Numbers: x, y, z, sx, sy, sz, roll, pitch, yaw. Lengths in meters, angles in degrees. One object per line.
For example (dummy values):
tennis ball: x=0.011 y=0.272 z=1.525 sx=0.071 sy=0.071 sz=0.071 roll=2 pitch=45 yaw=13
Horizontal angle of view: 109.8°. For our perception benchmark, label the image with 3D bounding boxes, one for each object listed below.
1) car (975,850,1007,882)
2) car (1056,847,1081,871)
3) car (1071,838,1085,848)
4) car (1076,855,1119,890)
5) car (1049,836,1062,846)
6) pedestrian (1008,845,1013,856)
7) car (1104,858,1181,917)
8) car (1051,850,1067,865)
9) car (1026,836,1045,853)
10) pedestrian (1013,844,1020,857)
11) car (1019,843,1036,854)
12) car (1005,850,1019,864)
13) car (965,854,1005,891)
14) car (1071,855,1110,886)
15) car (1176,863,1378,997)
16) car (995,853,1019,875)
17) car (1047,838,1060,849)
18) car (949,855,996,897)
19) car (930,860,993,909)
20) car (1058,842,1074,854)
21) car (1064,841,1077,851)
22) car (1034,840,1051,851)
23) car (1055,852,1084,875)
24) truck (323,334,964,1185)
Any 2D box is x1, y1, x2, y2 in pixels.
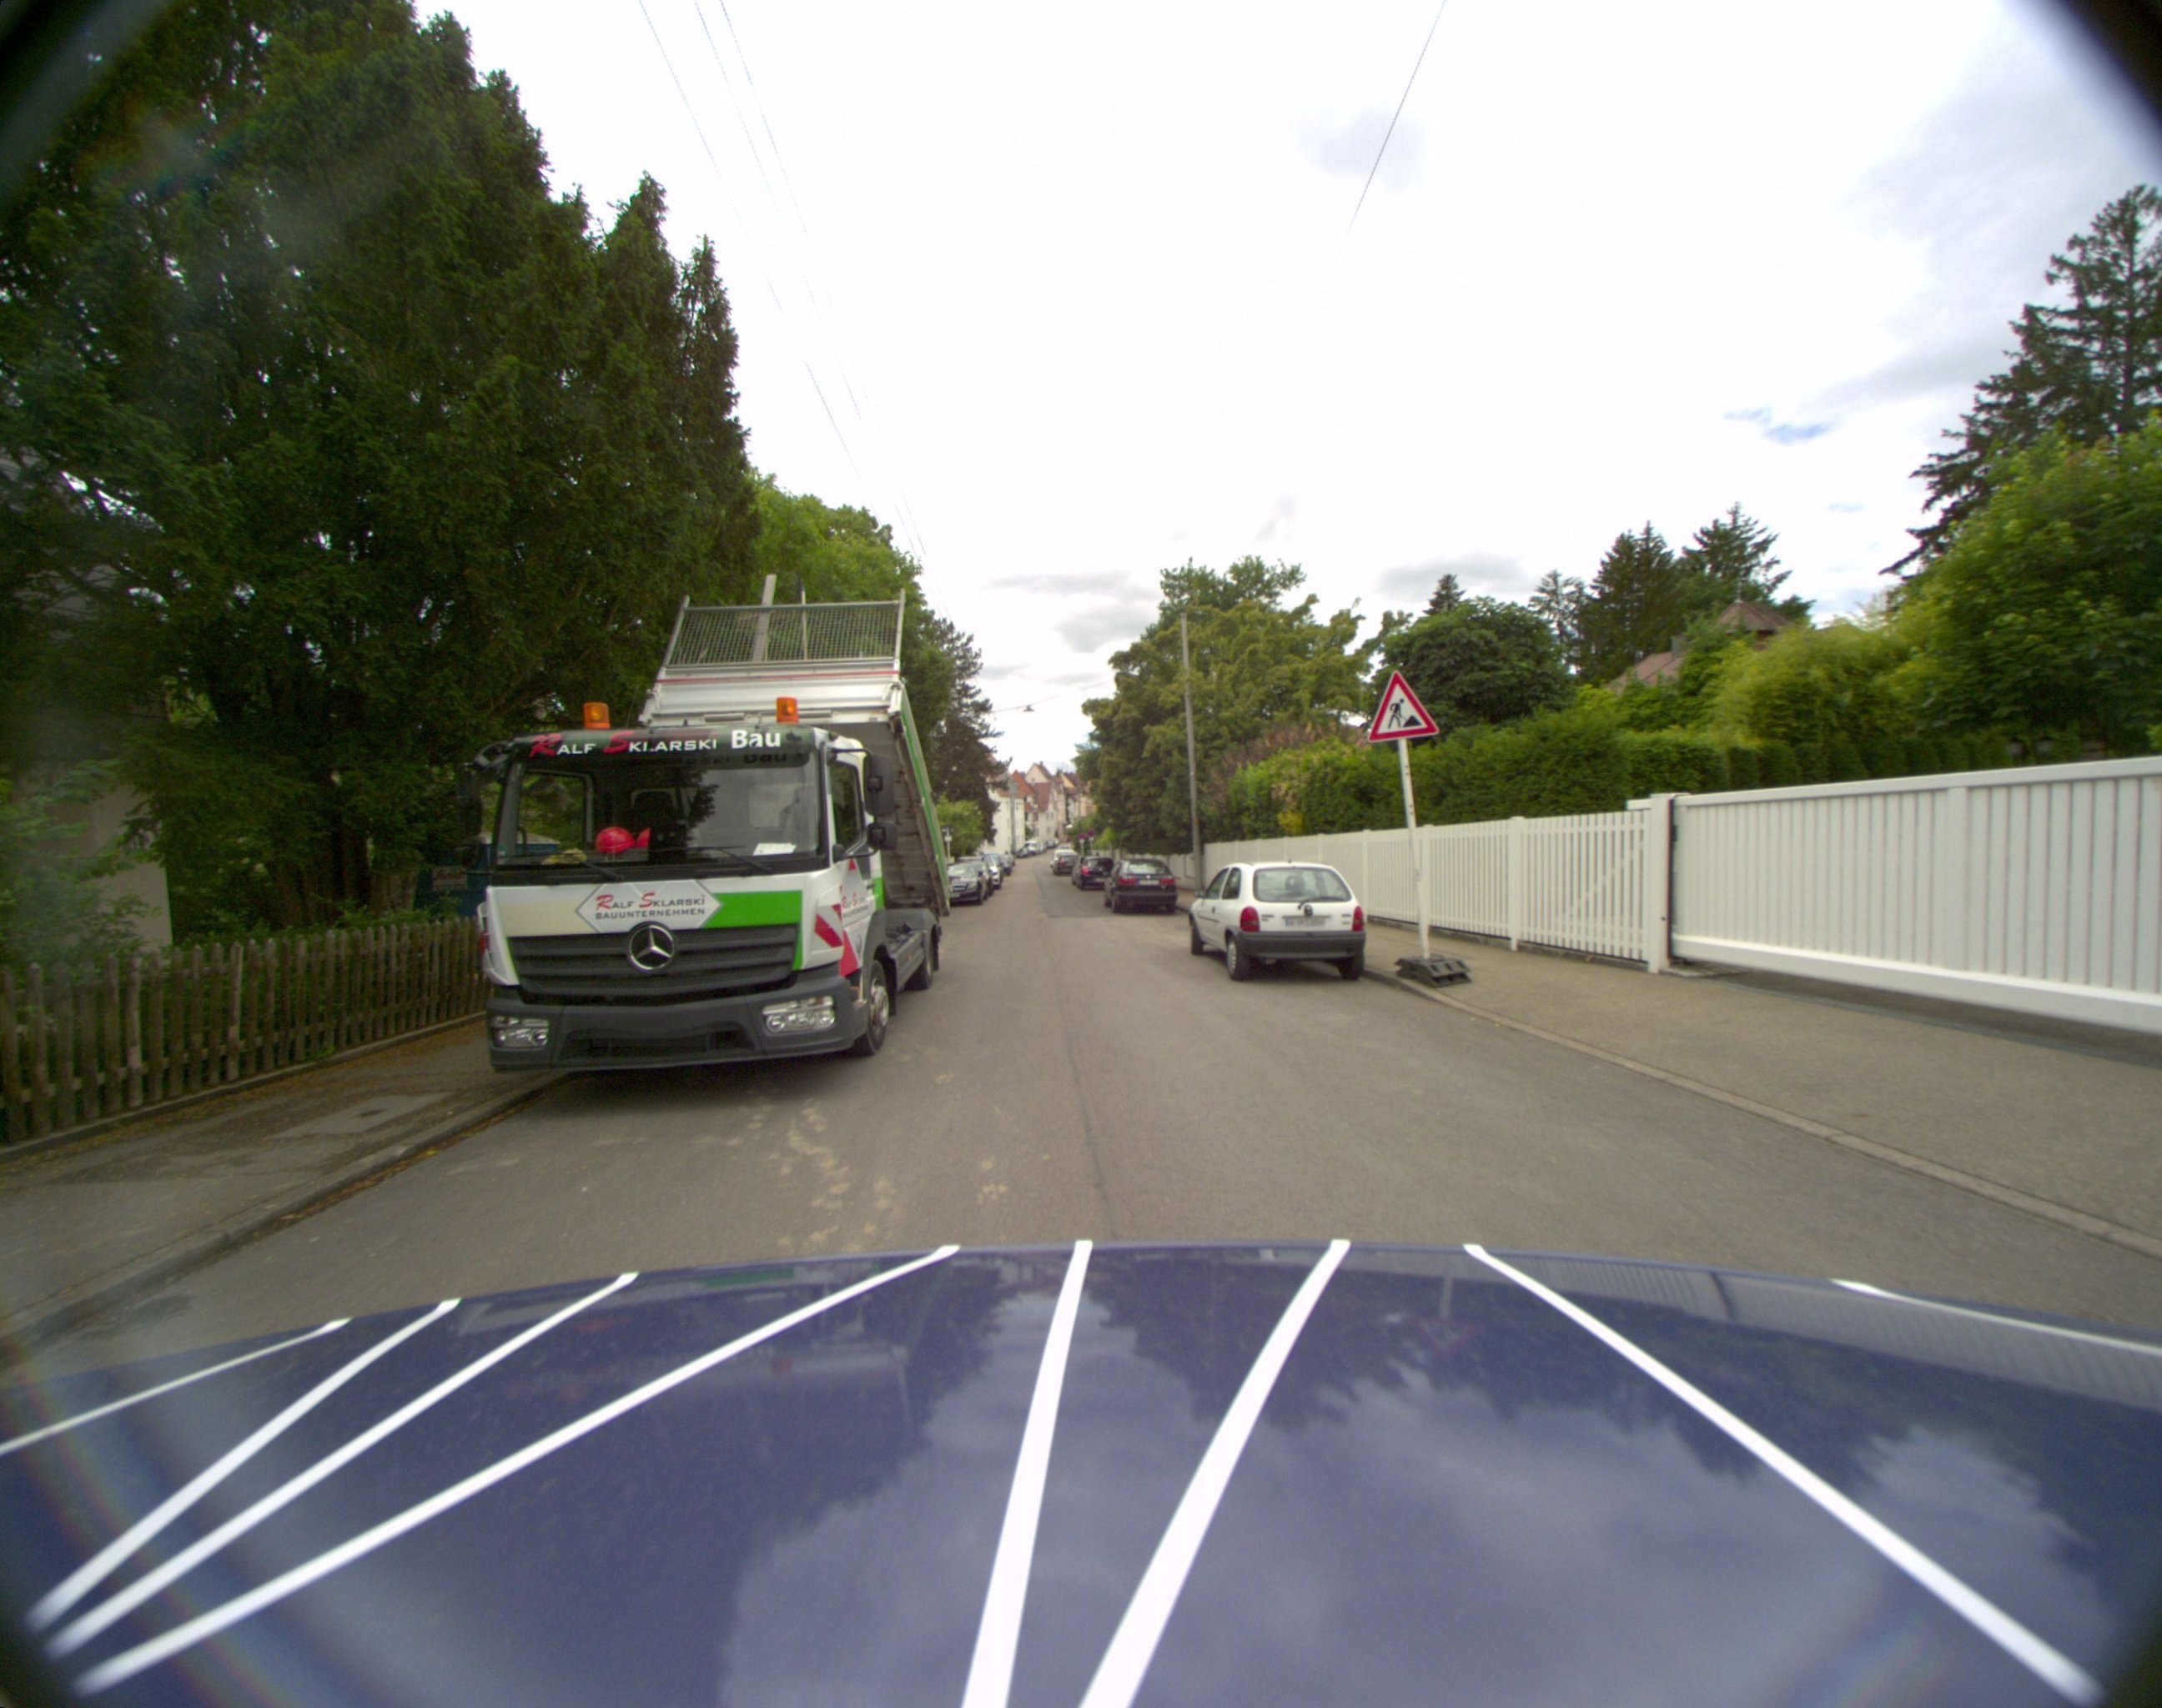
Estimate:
car: x=-5.722 y=0.739 z=48.590 sx=1.687 sy=1.818 sz=4.155 roll=-4 pitch=0 yaw=-4
car: x=-1.069 y=0.366 z=63.474 sx=1.860 sy=1.902 sz=4.617 roll=0 pitch=1 yaw=-3
car: x=-0.541 y=-1.960 z=131.764 sx=1.806 sy=1.472 sz=4.328 roll=-1 pitch=4 yaw=8
car: x=0.716 y=0.794 z=34.530 sx=1.660 sy=1.472 sz=3.886 roll=0 pitch=0 yaw=-3
car: x=-4.678 y=-2.340 z=139.585 sx=1.608 sy=1.482 sz=4.022 roll=-3 pitch=4 yaw=8
pedestrian: x=-10.301 y=-0.487 z=111.332 sx=0.682 sy=1.568 sz=0.906 roll=0 pitch=3 yaw=2
car: x=1.593 y=0.846 z=21.209 sx=1.645 sy=1.414 sz=4.548 roll=0 pitch=0 yaw=-2
car: x=-2.363 y=0.406 z=82.392 sx=1.446 sy=1.543 sz=2.770 roll=1 pitch=1 yaw=3
car: x=-7.295 y=-1.611 z=122.539 sx=1.997 sy=2.410 sz=5.292 roll=-1 pitch=4 yaw=9
pedestrian: x=-9.037 y=-0.490 z=105.880 sx=0.822 sy=1.750 sz=0.643 roll=-4 pitch=3 yaw=-7
car: x=-8.231 y=-0.824 z=116.480 sx=1.822 sy=1.478 sz=4.286 roll=-2 pitch=3 yaw=6
car: x=-8.439 y=0.385 z=92.743 sx=1.576 sy=1.523 sz=2.865 roll=-5 pitch=1 yaw=-6
car: x=-4.741 y=0.856 z=37.722 sx=1.763 sy=1.597 sz=4.572 roll=-3 pitch=1 yaw=-7
car: x=0.436 y=0.822 z=39.097 sx=1.627 sy=1.524 sz=2.960 roll=0 pitch=0 yaw=-7
car: x=2.466 y=0.879 z=10.561 sx=1.600 sy=1.425 sz=3.998 roll=0 pitch=0 yaw=-3
car: x=-6.041 y=0.812 z=62.565 sx=1.755 sy=1.599 sz=4.073 roll=-4 pitch=1 yaw=-4
car: x=-4.947 y=-1.927 z=139.545 sx=1.780 sy=1.711 sz=4.000 roll=-2 pitch=3 yaw=6
car: x=-4.520 y=0.865 z=32.039 sx=1.703 sy=1.561 sz=4.306 roll=-2 pitch=1 yaw=-5
car: x=-4.123 y=0.987 z=26.768 sx=1.657 sy=1.415 sz=4.658 roll=-3 pitch=1 yaw=-3
car: x=-2.333 y=-0.998 z=118.102 sx=1.808 sy=1.650 sz=4.151 roll=-1 pitch=2 yaw=7
car: x=-1.724 y=-1.265 z=122.498 sx=1.610 sy=1.445 sz=3.613 roll=1 pitch=4 yaw=7
car: x=-6.509 y=-1.403 z=128.604 sx=1.828 sy=1.437 sz=4.382 roll=-2 pitch=4 yaw=9
car: x=-0.889 y=0.658 z=57.021 sx=1.796 sy=1.614 sz=4.340 roll=-1 pitch=1 yaw=-6
truck: x=-2.991 y=-0.577 z=7.913 sx=2.531 sy=4.721 sz=7.184 roll=-3 pitch=1 yaw=-3
